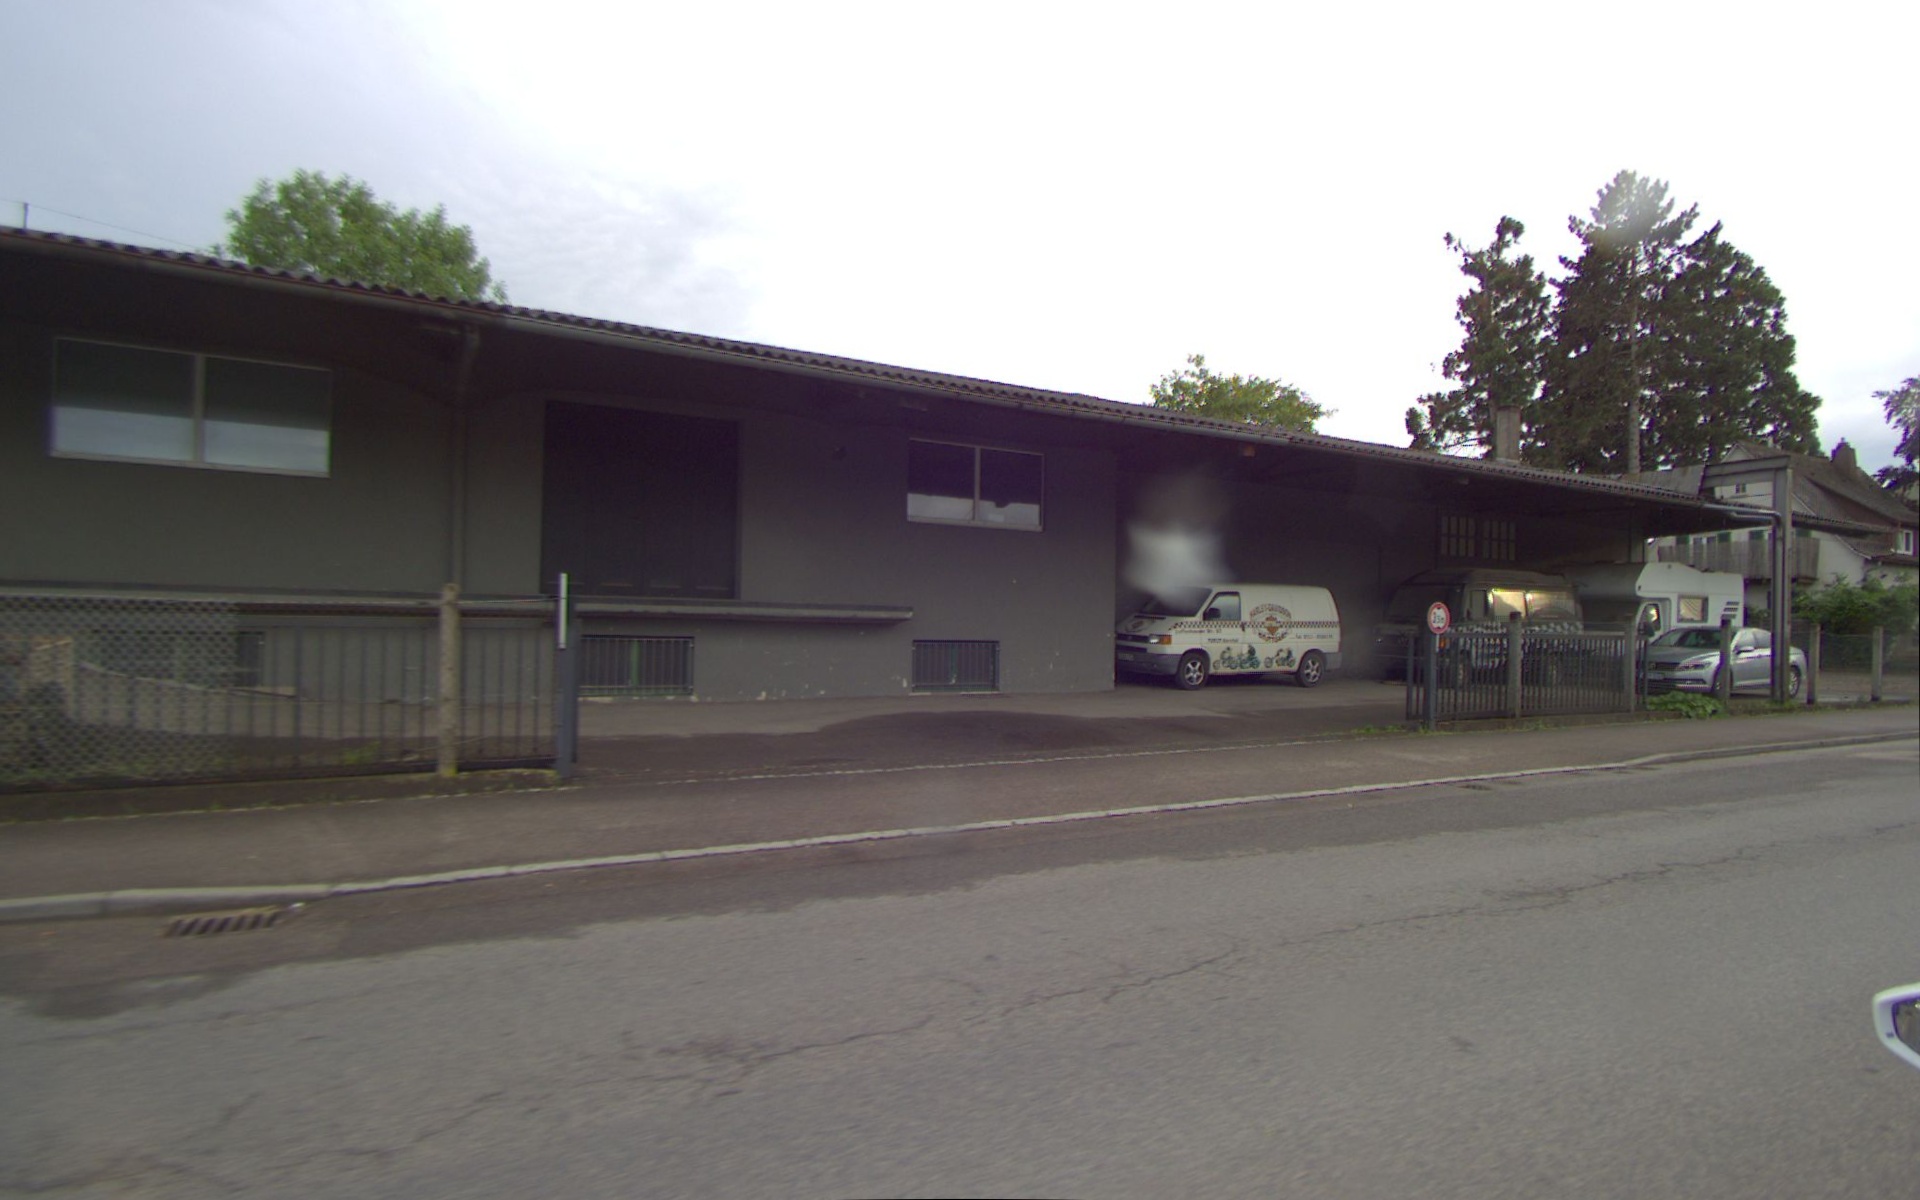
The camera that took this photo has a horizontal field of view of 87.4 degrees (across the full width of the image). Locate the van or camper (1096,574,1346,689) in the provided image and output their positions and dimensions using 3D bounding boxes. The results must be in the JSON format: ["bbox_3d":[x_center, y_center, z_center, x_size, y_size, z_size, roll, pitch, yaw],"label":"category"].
[{"bbox_3d":[4.956,0.579,18.960,4.420,1.934,1.983,2,1,-31],"label":"van or camper"}]

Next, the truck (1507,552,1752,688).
[{"bbox_3d":[16.229,0.529,24.292,5.884,2.966,2.384,3,0,-29],"label":"truck"}]

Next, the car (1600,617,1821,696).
[{"bbox_3d":[15.823,1.186,21.128,4.723,1.463,1.928,3,-1,-29],"label":"car"}]

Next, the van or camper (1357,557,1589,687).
[{"bbox_3d":[11.176,0.510,21.755,5.173,2.469,1.850,4,1,-30],"label":"van or camper"}]
